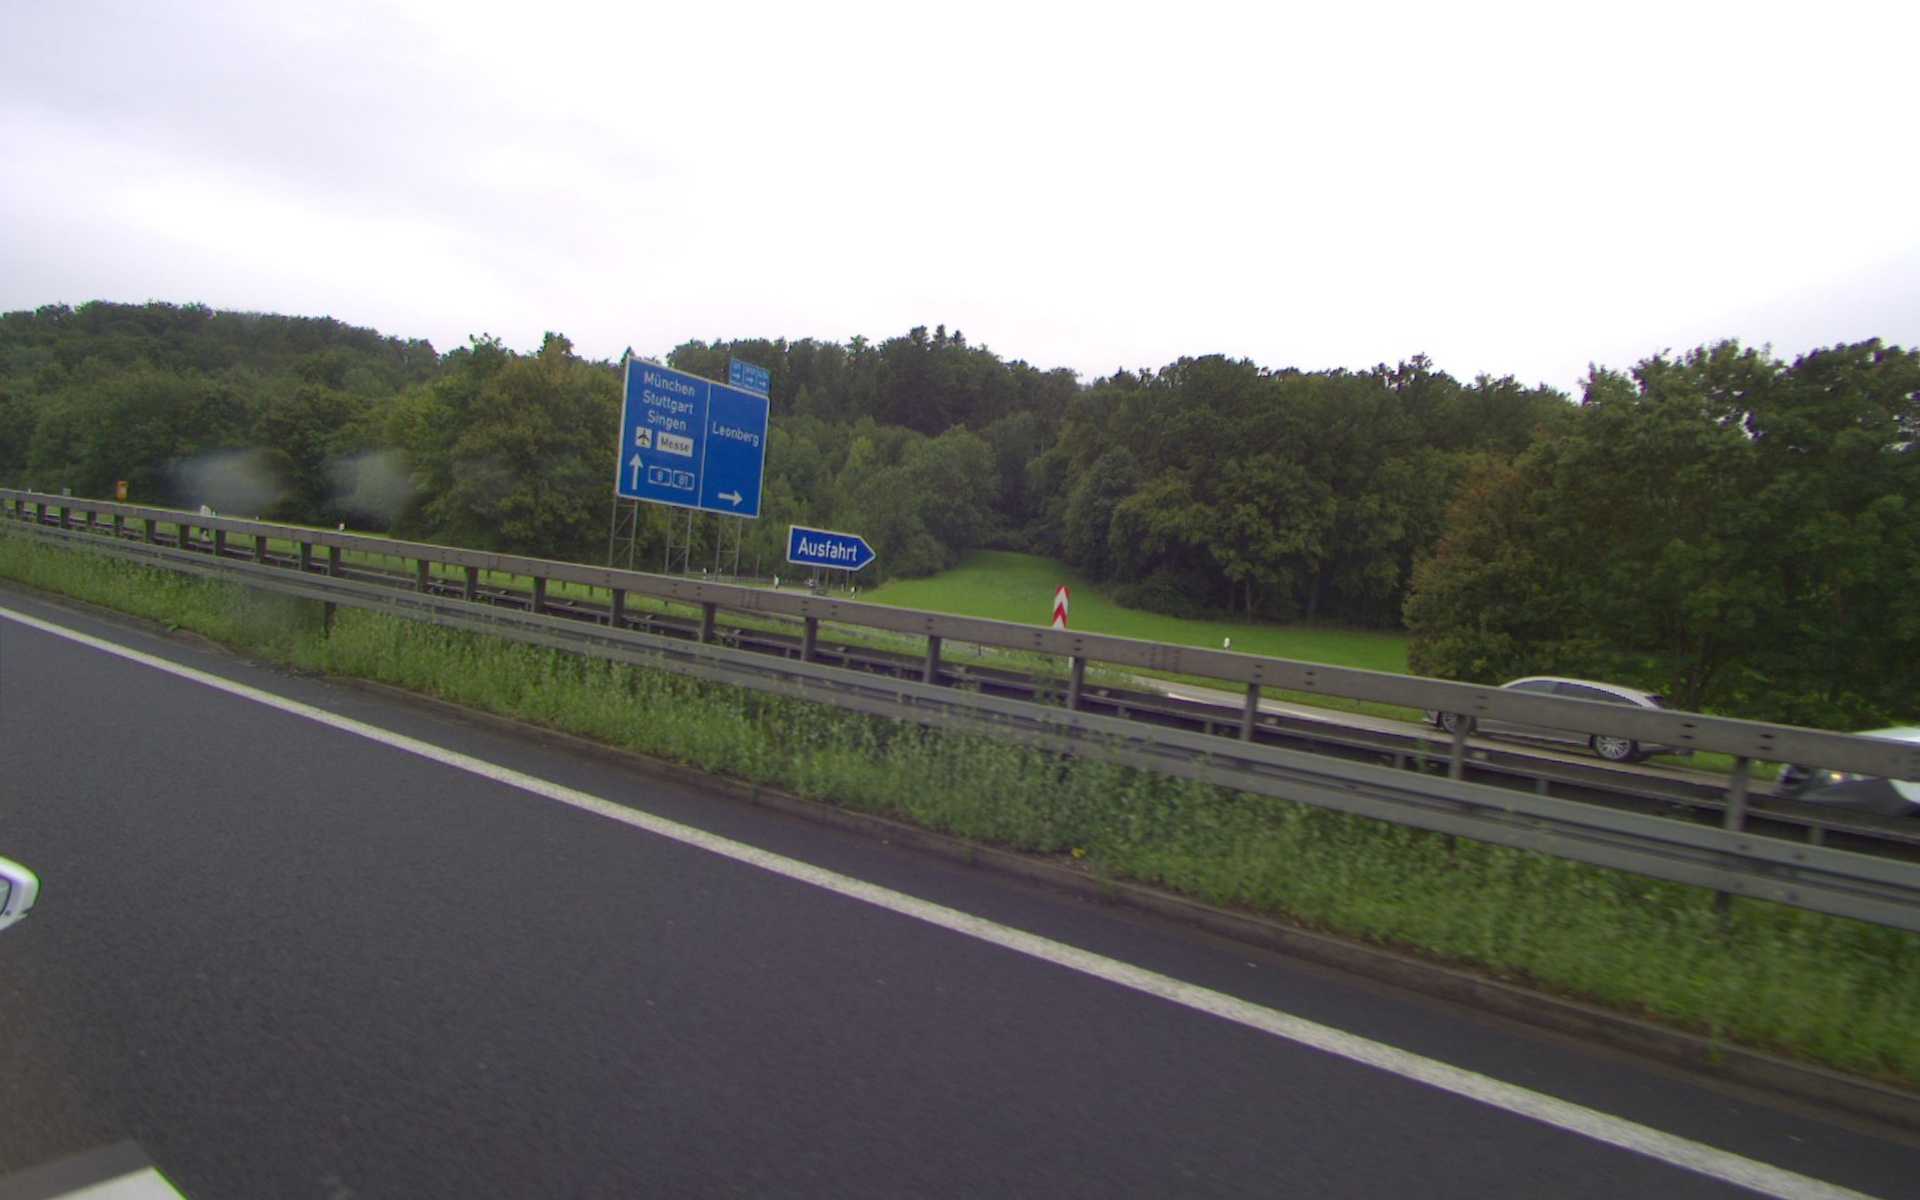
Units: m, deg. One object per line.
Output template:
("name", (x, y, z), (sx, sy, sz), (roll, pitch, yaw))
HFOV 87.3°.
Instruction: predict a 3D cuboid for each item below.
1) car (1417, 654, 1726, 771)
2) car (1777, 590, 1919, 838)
("car", (11.609, 2.092, 19.368), (1.893, 1.472, 4.653), (7, -1, -43))
("car", (8.866, 1.069, 6.946), (4.641, 1.714, 1.911), (6, 0, 32))
